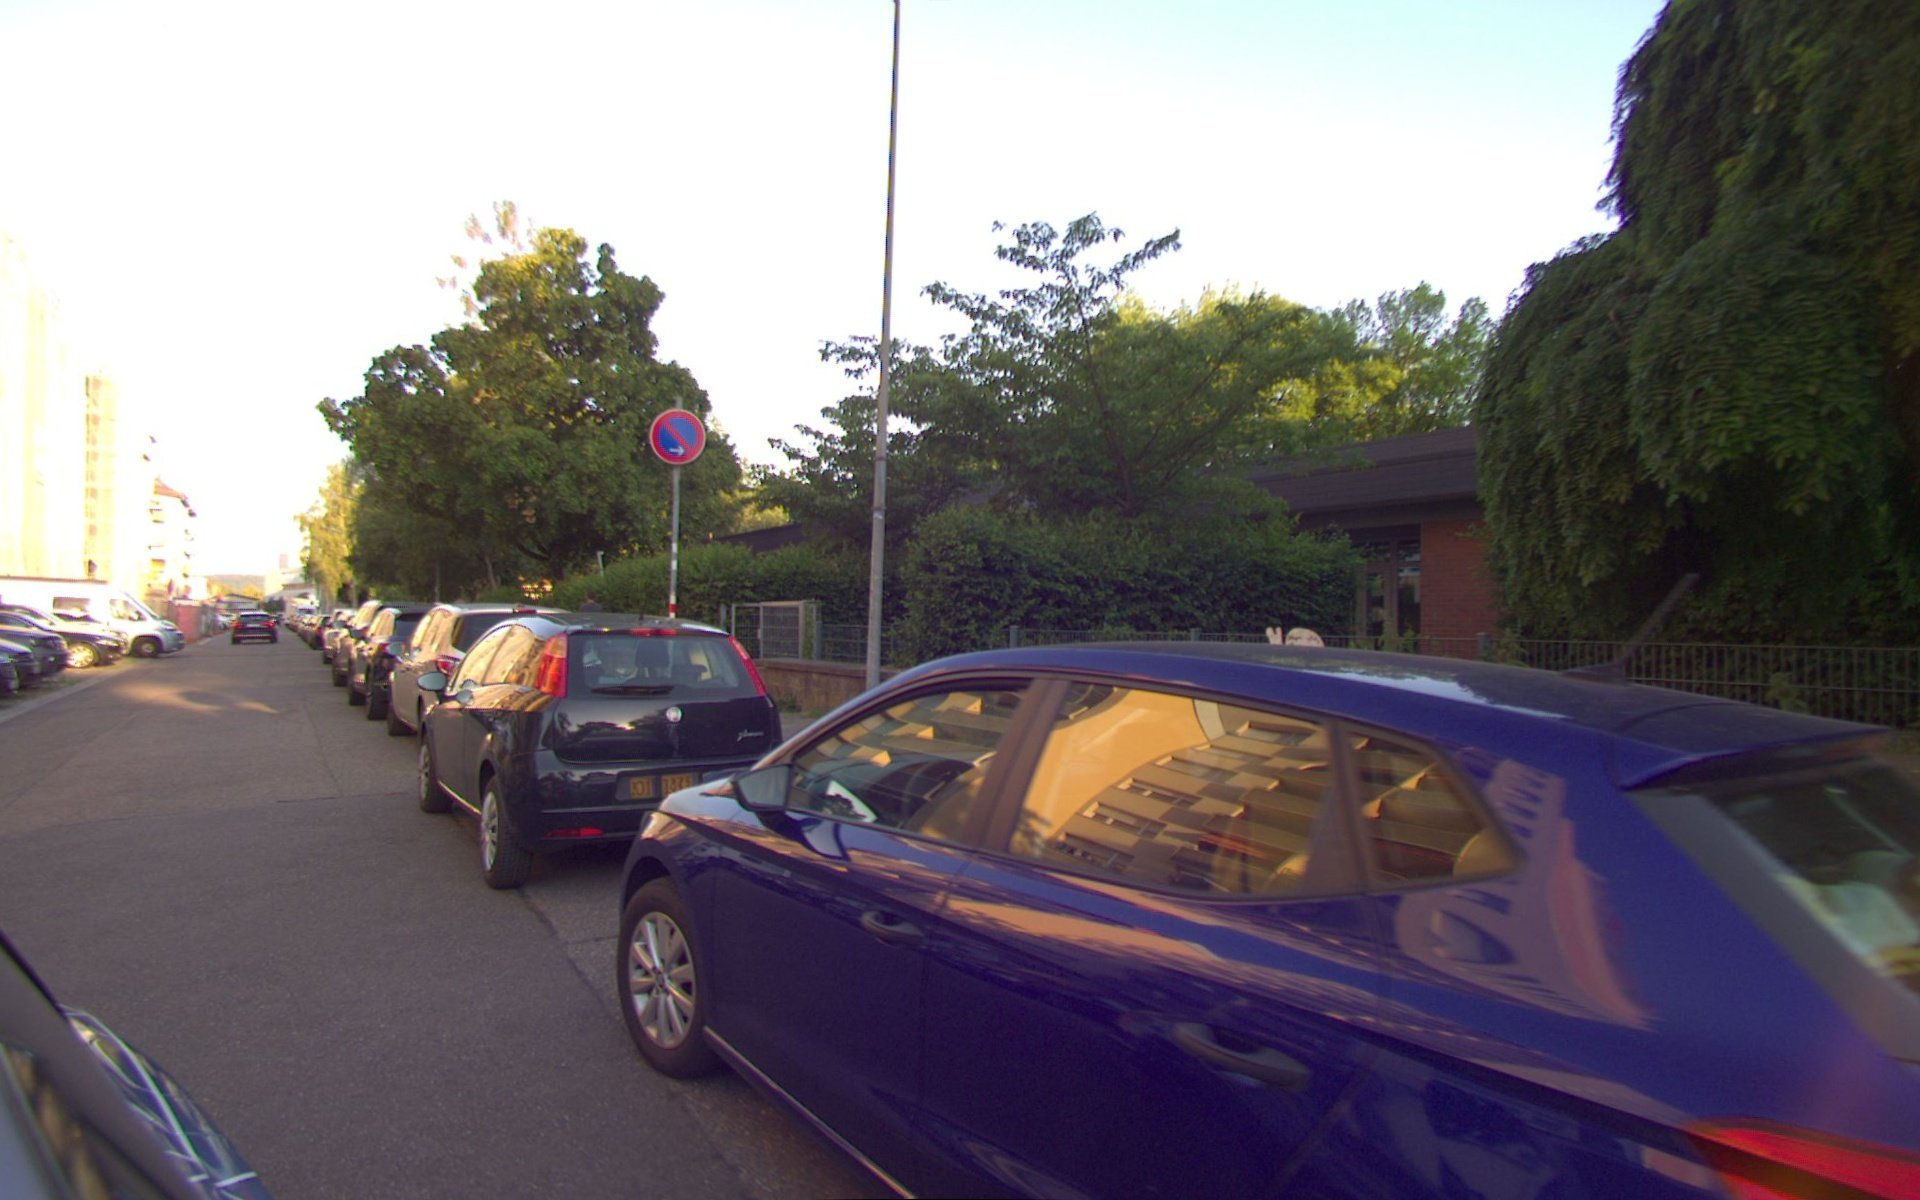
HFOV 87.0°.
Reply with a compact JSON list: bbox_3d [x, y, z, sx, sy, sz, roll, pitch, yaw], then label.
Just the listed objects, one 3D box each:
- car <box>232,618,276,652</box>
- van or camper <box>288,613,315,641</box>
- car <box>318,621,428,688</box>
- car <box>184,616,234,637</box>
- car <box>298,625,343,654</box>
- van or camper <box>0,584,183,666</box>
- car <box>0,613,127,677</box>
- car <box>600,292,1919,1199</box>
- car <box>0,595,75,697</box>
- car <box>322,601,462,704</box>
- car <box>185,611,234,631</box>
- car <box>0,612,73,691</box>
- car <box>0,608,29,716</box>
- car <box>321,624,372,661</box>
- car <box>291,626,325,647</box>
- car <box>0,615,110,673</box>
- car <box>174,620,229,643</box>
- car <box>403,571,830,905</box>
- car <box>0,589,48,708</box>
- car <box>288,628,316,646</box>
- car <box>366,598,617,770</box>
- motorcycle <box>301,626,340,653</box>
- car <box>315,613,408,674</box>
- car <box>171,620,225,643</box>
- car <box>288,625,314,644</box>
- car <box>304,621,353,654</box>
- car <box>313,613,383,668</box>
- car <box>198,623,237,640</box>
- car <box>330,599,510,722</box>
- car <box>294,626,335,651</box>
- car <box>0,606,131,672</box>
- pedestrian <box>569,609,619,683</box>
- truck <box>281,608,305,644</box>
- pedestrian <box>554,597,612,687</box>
[{"bbox_3d":[-35.772,1.777,51.326,1.710,1.644,4.136,3,-3,-34],"label":"car"},{"bbox_3d":[-60.069,2.462,92.266,1.796,2.433,4.302,3,-3,-35],"label":"van or camper"},{"bbox_3d":[-13.964,1.253,23.967,1.711,1.438,4.296,3,-3,-37],"label":"car"},{"bbox_3d":[-75.552,2.694,101.852,3.933,2.029,2.005,0,-1,-35],"label":"car"},{"bbox_3d":[-32.704,2.017,51.707,1.710,1.436,3.814,3,-3,-35],"label":"car"},{"bbox_3d":[-29.278,0.849,33.058,5.977,2.523,2.055,3,-3,-34],"label":"van or camper"},{"bbox_3d":[-24.760,1.157,26.466,4.343,1.565,1.851,3,-1,-33],"label":"car"},{"bbox_3d":[0.614,0.594,2.490,1.711,1.579,3.799,3,-3,-37],"label":"car"},{"bbox_3d":[-19.454,0.812,18.665,4.452,1.877,1.850,3,-3,-35],"label":"car"},{"bbox_3d":[-10.966,0.971,19.393,1.711,1.743,4.332,3,-3,-37],"label":"car"},{"bbox_3d":[-77.413,2.126,104.431,3.933,2.029,2.005,0,-1,-35],"label":"car"},{"bbox_3d":[-21.245,1.019,20.726,4.343,1.565,1.851,3,-1,-32],"label":"car"},{"bbox_3d":[-16.687,0.865,14.726,4.344,1.575,1.850,3,-1,-35],"label":"car"},{"bbox_3d":[-25.504,1.755,42.048,1.598,1.436,3.424,3,-3,-34],"label":"car"},{"bbox_3d":[-43.555,2.438,67.589,1.710,1.377,4.302,3,-3,-35],"label":"car"},{"bbox_3d":[-28.342,1.281,30.212,4.343,1.631,1.851,0,1,-33],"label":"car"},{"bbox_3d":[-69.383,2.860,92.634,3.933,2.029,2.005,0,-1,-35],"label":"car"},{"bbox_3d":[-2.520,0.729,6.811,1.710,1.579,3.706,3,-3,-35],"label":"car"},{"bbox_3d":[-18.297,0.739,16.682,4.574,1.996,1.850,3,-1,-35],"label":"car"},{"bbox_3d":[-53.814,2.994,82.708,1.710,1.377,4.302,3,-3,-35],"label":"car"},{"bbox_3d":[-5.448,0.854,11.467,1.711,1.579,4.138,3,-3,-37],"label":"car"},{"bbox_3d":[-31.047,1.919,49.146,1.570,1.268,0.787,0,-1,-32],"label":"motorcycle"},{"bbox_3d":[-16.712,1.205,28.165,1.736,1.554,4.290,3,-3,-37],"label":"car"},{"bbox_3d":[-71.111,2.908,94.546,3.933,2.029,2.005,0,-1,-35],"label":"car"},{"bbox_3d":[-56.964,2.983,87.457,1.710,1.522,4.302,3,-3,-35],"label":"car"},{"bbox_3d":[-28.991,1.722,46.403,1.710,1.457,3.814,3,-3,-34],"label":"car"},{"bbox_3d":[-19.736,1.306,32.571,1.710,1.644,3.991,3,-3,-33],"label":"car"},{"bbox_3d":[-94.200,3.984,128.452,3.933,2.029,2.005,0,-1,-35],"label":"car"},{"bbox_3d":[-8.227,0.862,15.235,1.711,1.579,4.176,3,-3,-37],"label":"car"},{"bbox_3d":[-35.895,2.120,56.249,1.710,1.297,3.814,3,-3,-35],"label":"car"},{"bbox_3d":[-26.350,1.077,28.504,4.342,1.761,1.851,3,-1,-30],"label":"car"},{"bbox_3d":[-7.875,0.973,21.784,0.738,1.519,0.904,-2,0,-36],"label":"pedestrian"},{"bbox_3d":[-75.559,2.908,114.652,2.148,3.912,4.939,0,-1,-34],"label":"truck"},{"bbox_3d":[-7.647,0.837,20.522,0.887,1.745,0.752,-2,0,-36],"label":"pedestrian"}]
